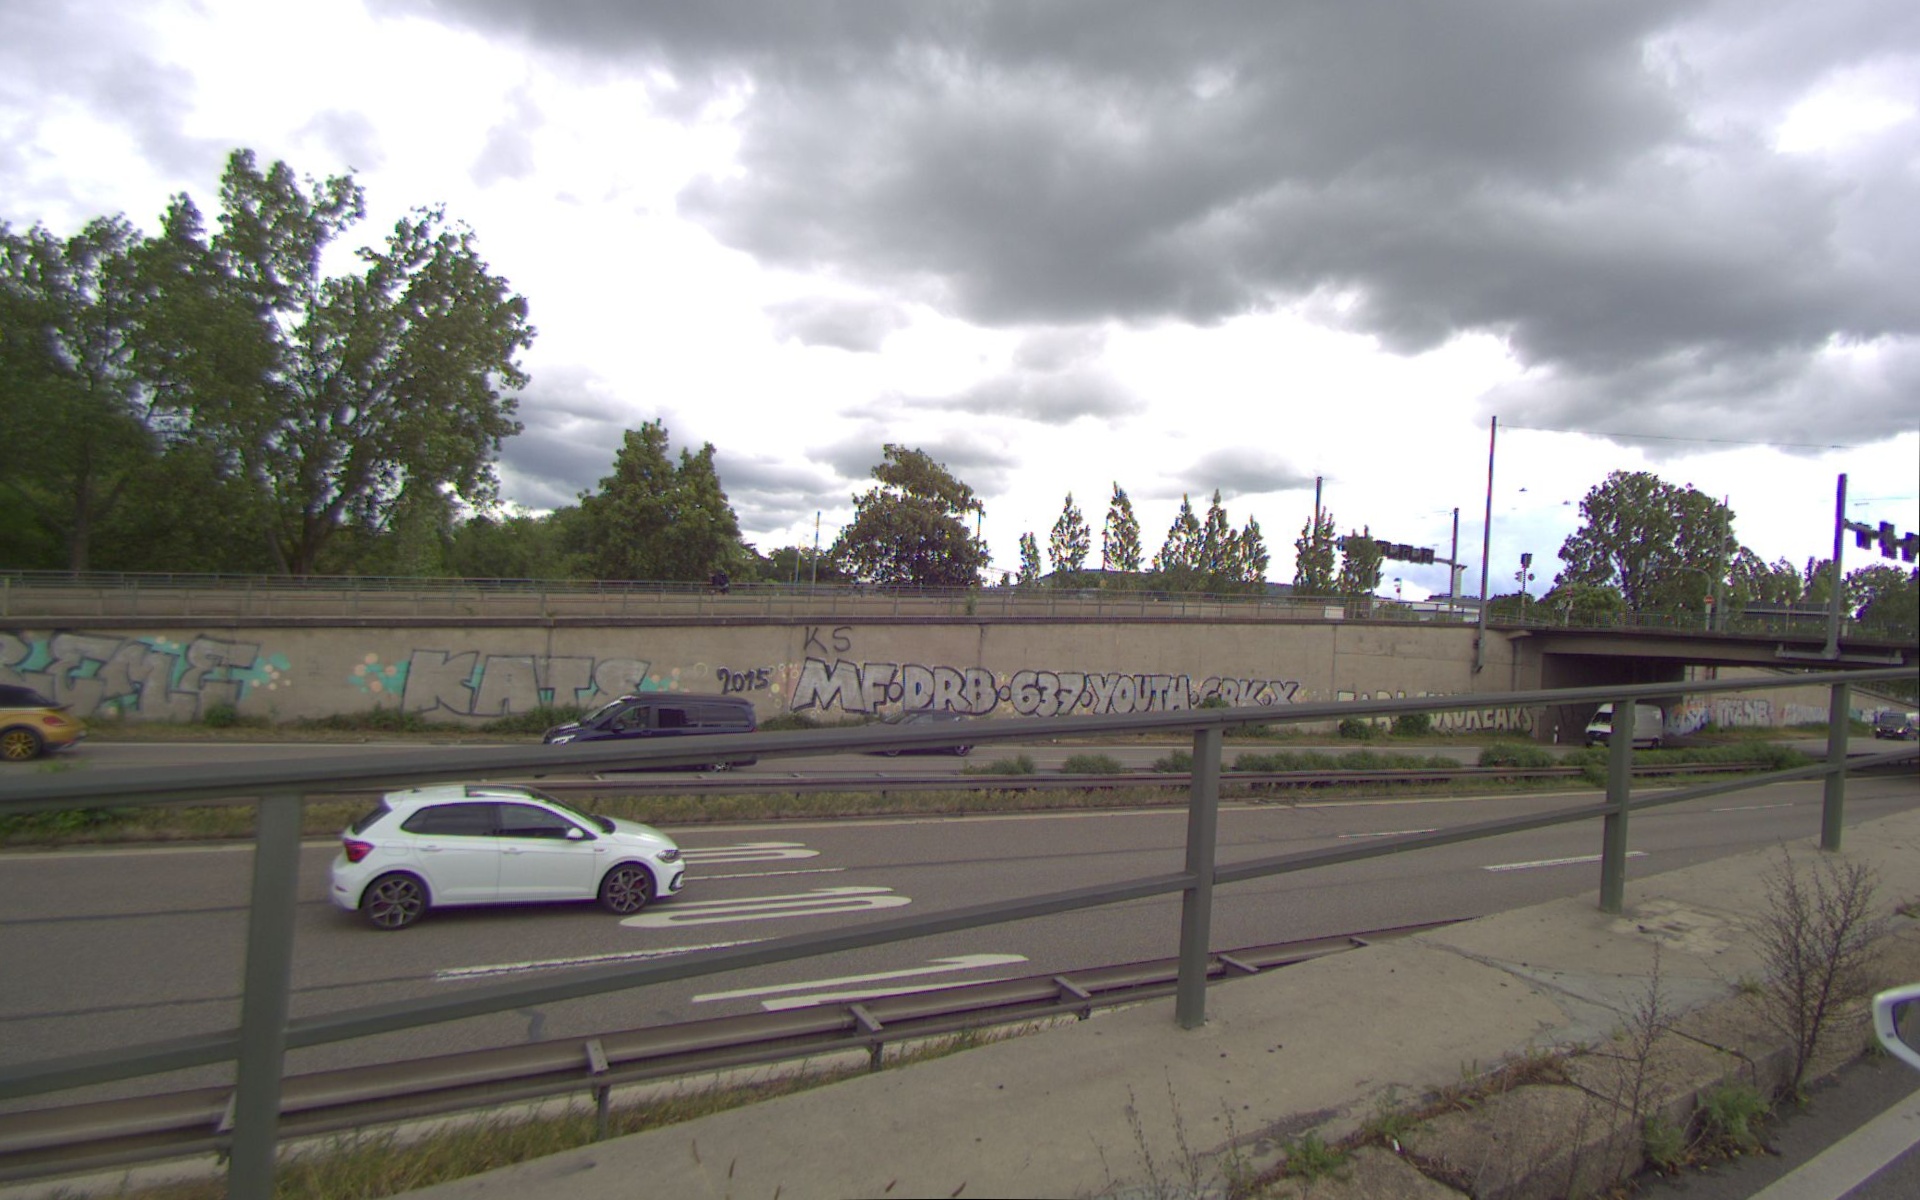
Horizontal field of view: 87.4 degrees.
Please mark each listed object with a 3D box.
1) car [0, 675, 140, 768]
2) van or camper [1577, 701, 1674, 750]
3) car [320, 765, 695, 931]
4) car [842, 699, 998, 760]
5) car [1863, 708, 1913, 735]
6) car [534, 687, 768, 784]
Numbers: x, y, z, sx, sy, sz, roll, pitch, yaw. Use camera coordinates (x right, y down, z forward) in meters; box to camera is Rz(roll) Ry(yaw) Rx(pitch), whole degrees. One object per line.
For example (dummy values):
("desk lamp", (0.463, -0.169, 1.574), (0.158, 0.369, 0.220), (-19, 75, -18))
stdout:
("car", (-20.313, 2.483, 20.905), (4.652, 1.742, 1.983), (5, -3, -31))
("van or camper", (38.313, 7.216, 57.731), (6.280, 2.488, 2.170), (5, -2, -32))
("car", (-5.568, 2.981, 12.664), (3.950, 1.519, 1.847), (4, -2, -27))
("car", (-1.283, 4.255, 32.919), (4.652, 1.714, 1.983), (5, -3, -31))
("car", (83.247, 10.922, 90.065), (6.130, 2.183, 2.273), (6, -3, -38))
("car", (-7.549, 3.319, 24.734), (5.061, 2.014, 2.081), (5, -3, -32))
